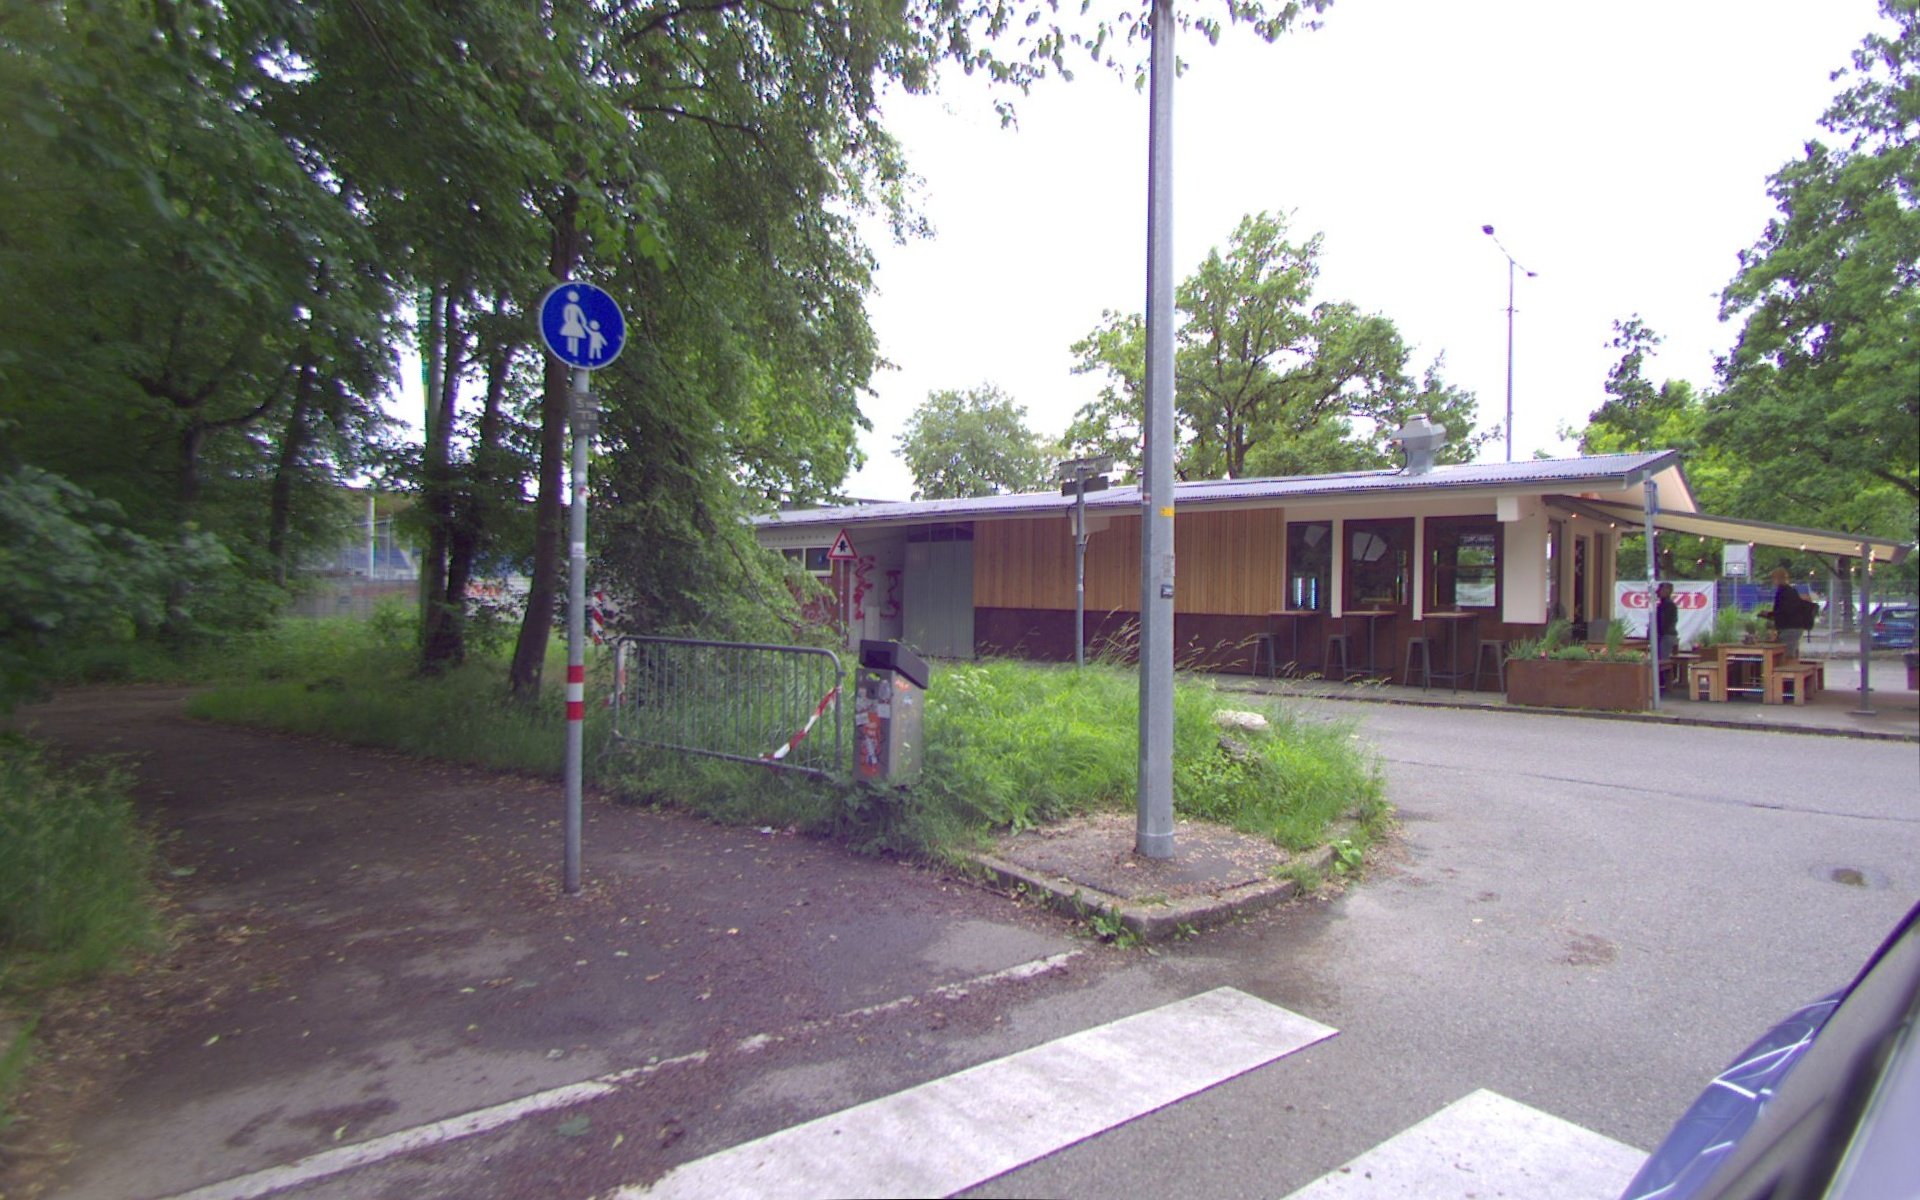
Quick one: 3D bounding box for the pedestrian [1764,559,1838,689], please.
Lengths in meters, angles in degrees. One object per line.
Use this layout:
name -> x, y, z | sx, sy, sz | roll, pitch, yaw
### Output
pedestrian -> 12.429, 0.338, 14.952 | 0.698, 1.854, 0.748 | 1, -1, -43

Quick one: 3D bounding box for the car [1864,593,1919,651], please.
car -> 27.066, 0.587, 28.766 | 1.992, 1.571, 3.940 | 0, 0, 41

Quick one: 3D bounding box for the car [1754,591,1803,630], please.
car -> 44.391, 0.564, 54.936 | 1.989, 2.039, 3.944 | 0, 0, 38

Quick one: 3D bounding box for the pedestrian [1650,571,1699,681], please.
pedestrian -> 11.293, 0.398, 16.003 | 0.585, 1.688, 0.529 | 1, -1, -44
